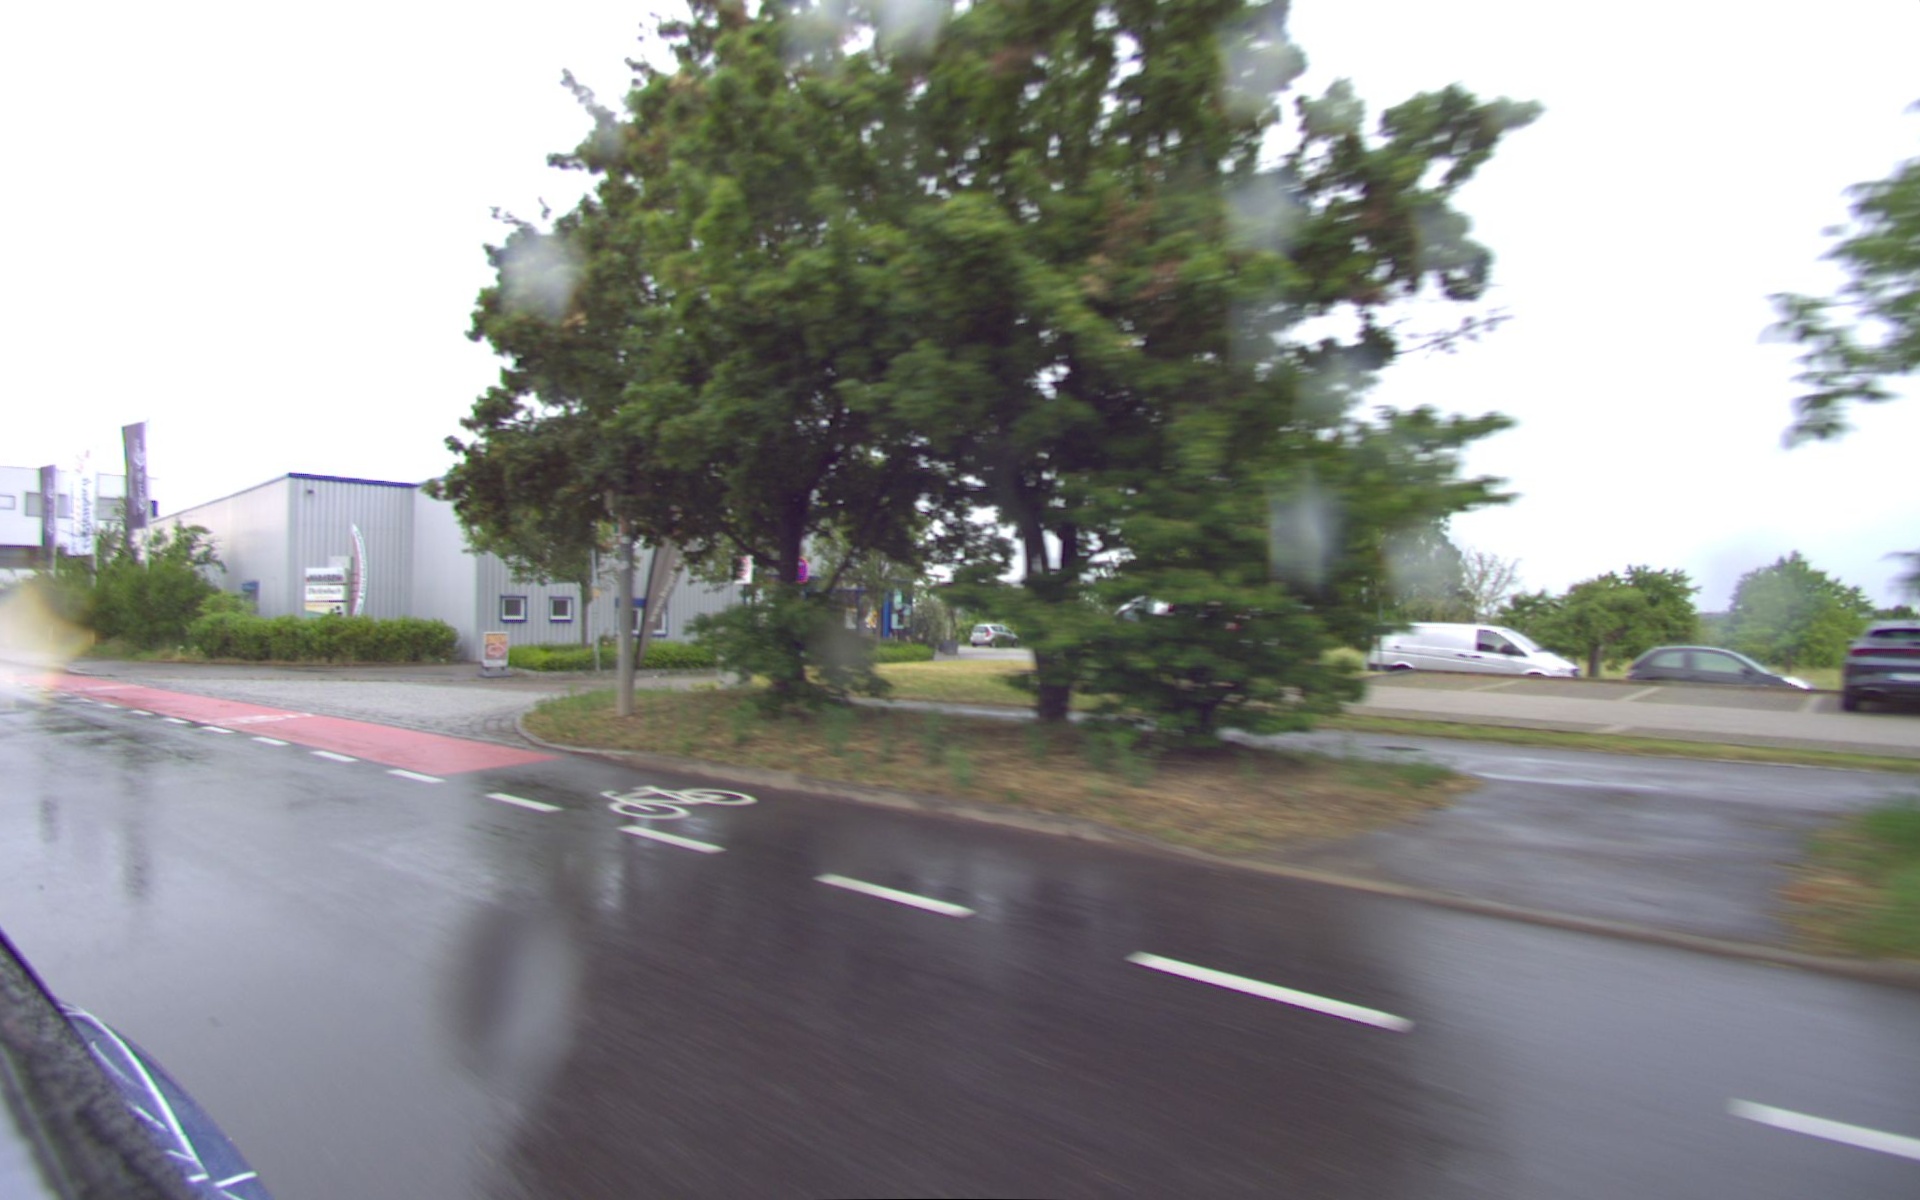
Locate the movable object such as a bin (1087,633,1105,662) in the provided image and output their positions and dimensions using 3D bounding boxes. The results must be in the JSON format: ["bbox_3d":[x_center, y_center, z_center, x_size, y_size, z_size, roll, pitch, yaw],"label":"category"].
[{"bbox_3d":[5.937,2.078,44.192,0.621,1.226,0.665,-1,-1,0],"label":"movable object such as a bin"}]

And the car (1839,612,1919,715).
[{"bbox_3d":[16.348,0.983,15.533,2.090,1.568,4.170,0,0,-44],"label":"car"}]

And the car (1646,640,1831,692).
[{"bbox_3d":[17.297,1.433,22.562,3.171,1.032,1.340,-2,-1,41],"label":"car"}]

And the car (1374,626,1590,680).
[{"bbox_3d":[13.482,1.341,26.322,4.655,1.239,1.960,-2,-1,41],"label":"car"}]

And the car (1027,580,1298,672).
[{"bbox_3d":[4.394,0.593,22.547,5.599,1.836,2.015,-2,-1,37],"label":"car"}]

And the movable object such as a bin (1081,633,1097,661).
[{"bbox_3d":[5.786,2.112,45.419,0.621,1.226,0.764,-1,-1,0],"label":"movable object such as a bin"}]
